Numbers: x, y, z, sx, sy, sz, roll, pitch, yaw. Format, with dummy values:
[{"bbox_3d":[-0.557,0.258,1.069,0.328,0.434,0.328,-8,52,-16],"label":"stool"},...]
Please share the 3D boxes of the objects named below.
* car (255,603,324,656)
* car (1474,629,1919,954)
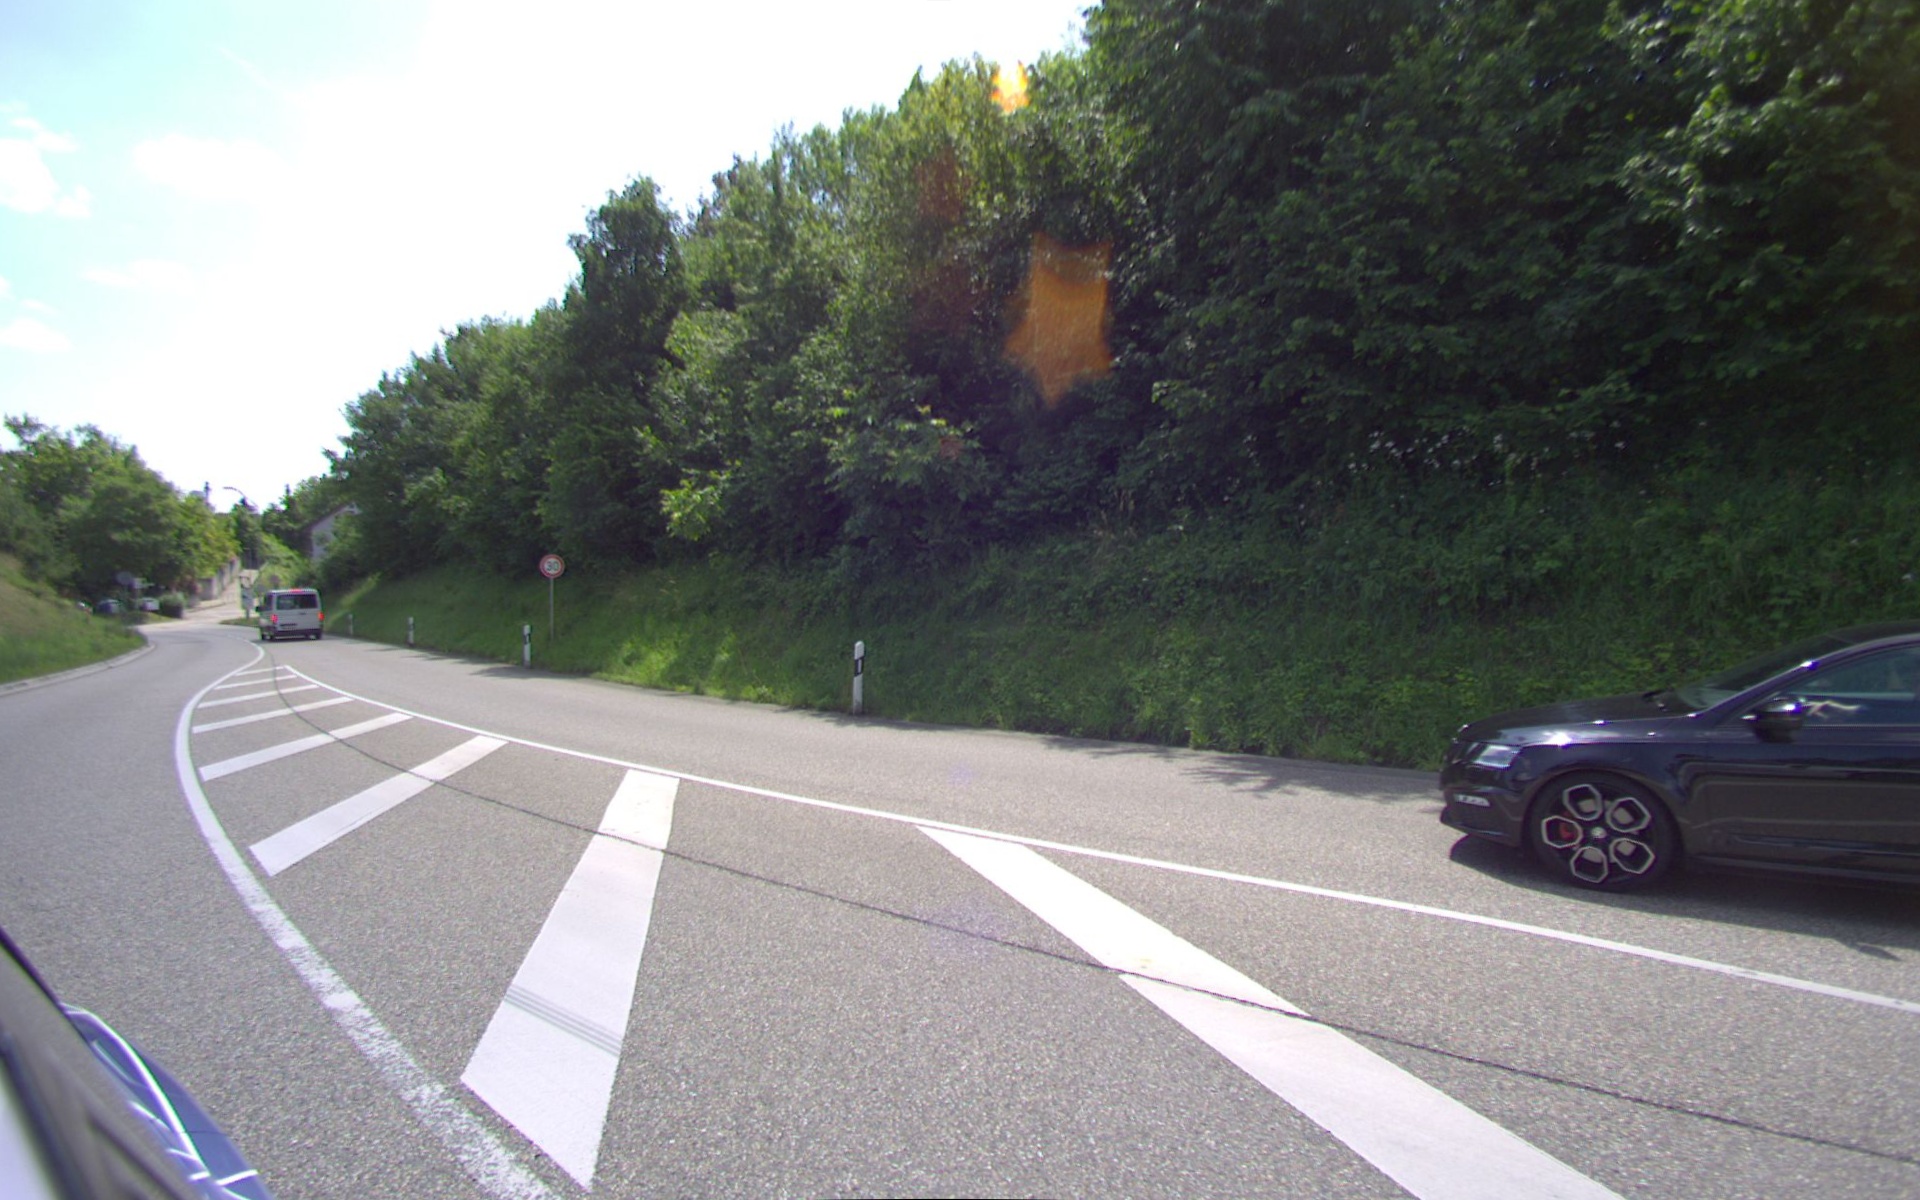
[{"bbox_3d":[-31.216,1.356,47.024,2.059,2.308,5.956,0,-2,-40],"label":"car"},{"bbox_3d":[5.070,0.863,4.967,4.335,1.430,1.670,-2,-2,36],"label":"car"}]
